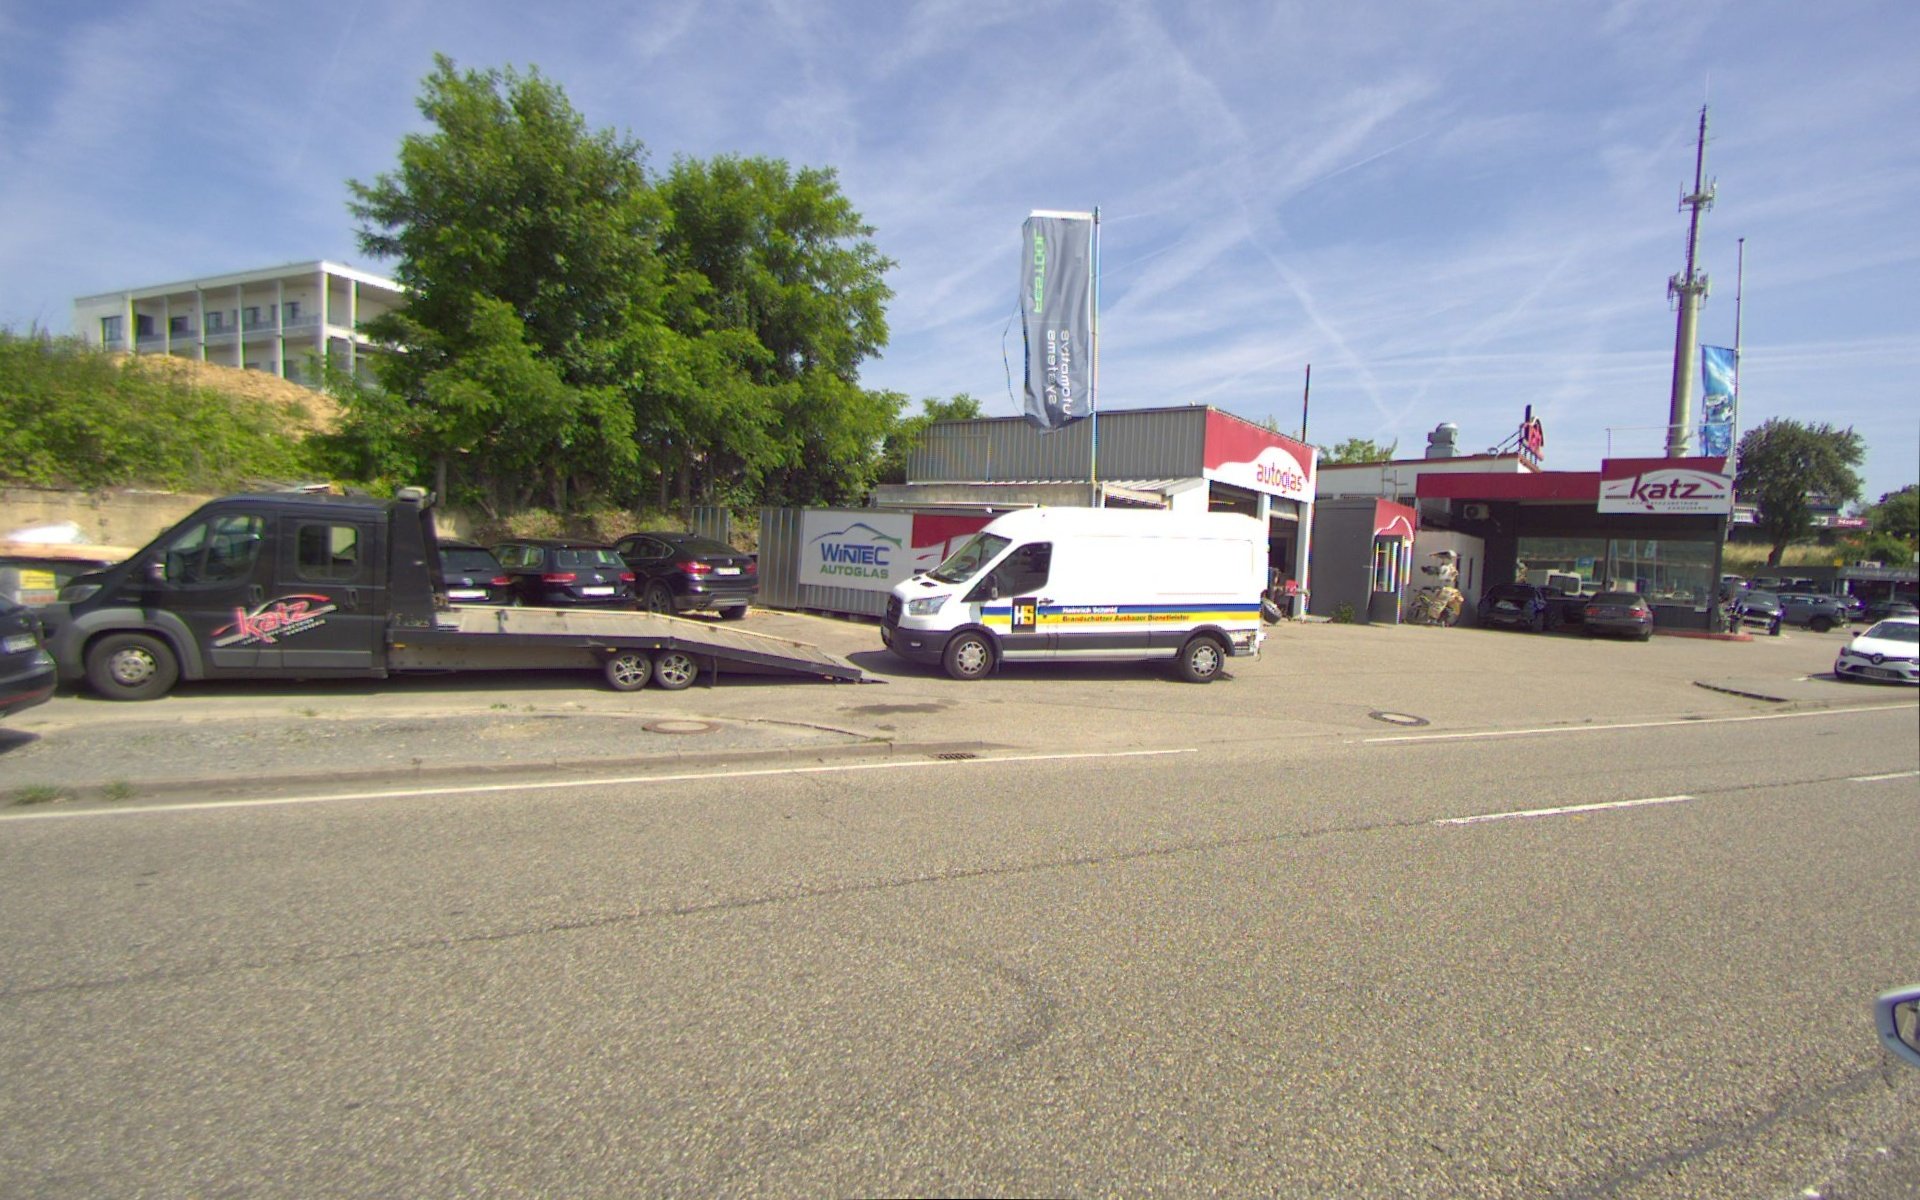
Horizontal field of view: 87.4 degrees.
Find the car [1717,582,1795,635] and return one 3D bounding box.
[{"bbox_3d":[30.536,0.324,38.651,1.797,1.696,4.115,9,4,34],"label":"car"}]

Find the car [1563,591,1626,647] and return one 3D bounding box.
[{"bbox_3d":[23.173,0.621,36.640,1.676,1.783,3.750,7,4,34],"label":"car"}]

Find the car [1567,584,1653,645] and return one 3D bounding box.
[{"bbox_3d":[20.064,0.377,30.923,1.829,1.525,4.378,6,6,36],"label":"car"}]

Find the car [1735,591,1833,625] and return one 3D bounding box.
[{"bbox_3d":[42.990,0.389,52.505,3.767,1.609,1.763,2,1,36],"label":"car"}]

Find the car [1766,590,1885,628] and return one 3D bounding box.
[{"bbox_3d":[39.065,0.361,45.448,3.886,1.553,1.763,2,1,36],"label":"car"}]

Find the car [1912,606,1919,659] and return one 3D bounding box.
[{"bbox_3d":[29.916,1.031,28.558,1.826,1.546,3.774,1,2,-32],"label":"car"}]

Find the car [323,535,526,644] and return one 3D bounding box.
[{"bbox_3d":[-8.458,-0.223,15.760,3.619,1.489,1.729,4,2,43],"label":"car"}]

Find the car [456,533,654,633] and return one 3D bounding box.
[{"bbox_3d":[-6.920,-0.333,17.003,3.619,1.489,1.729,4,2,43],"label":"car"}]

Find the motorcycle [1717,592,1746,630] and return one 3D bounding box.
[{"bbox_3d":[27.406,0.384,35.668,0.760,1.278,2.046,2,1,38],"label":"motorcycle"}]

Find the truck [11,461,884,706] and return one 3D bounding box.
[{"bbox_3d":[-5.466,-0.176,12.385,8.682,2.328,2.323,1,6,-25],"label":"truck"}]

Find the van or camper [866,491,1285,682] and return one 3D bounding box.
[{"bbox_3d":[1.696,-0.204,15.325,5.853,2.533,2.153,2,5,-16],"label":"van or camper"}]

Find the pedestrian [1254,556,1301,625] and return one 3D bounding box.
[{"bbox_3d":[8.499,-0.249,26.916,0.883,1.786,0.719,2,2,-27],"label":"pedestrian"}]

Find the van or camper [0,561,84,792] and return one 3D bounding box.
[{"bbox_3d":[-8.881,0.461,6.597,4.408,1.545,1.634,2,2,-26],"label":"van or camper"}]

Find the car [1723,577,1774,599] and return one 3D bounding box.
[{"bbox_3d":[58.682,-0.890,74.818,1.702,1.470,3.749,3,2,18],"label":"car"}]

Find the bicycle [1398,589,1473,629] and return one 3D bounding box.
[{"bbox_3d":[14.660,0.258,31.005,1.968,0.984,0.413,9,5,38],"label":"bicycle"}]

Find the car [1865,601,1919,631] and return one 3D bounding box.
[{"bbox_3d":[55.412,0.931,59.433,1.736,1.609,3.825,2,1,26],"label":"car"}]

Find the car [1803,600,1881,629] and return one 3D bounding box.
[{"bbox_3d":[53.757,0.863,61.310,1.733,1.609,3.831,2,1,9],"label":"car"}]

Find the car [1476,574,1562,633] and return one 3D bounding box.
[{"bbox_3d":[17.869,0.049,32.040,1.829,1.525,3.985,8,7,35],"label":"car"}]

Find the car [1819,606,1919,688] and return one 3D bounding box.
[{"bbox_3d":[21.572,1.034,22.853,3.952,1.640,1.771,1,2,-29],"label":"car"}]

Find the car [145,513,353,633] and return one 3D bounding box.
[{"bbox_3d":[-10.214,-0.419,14.336,3.619,1.489,1.729,4,2,43],"label":"car"}]

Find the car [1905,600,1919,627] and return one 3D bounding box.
[{"bbox_3d":[58.039,0.812,59.581,1.736,1.609,3.825,2,1,26],"label":"car"}]

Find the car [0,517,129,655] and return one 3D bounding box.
[{"bbox_3d":[-11.699,-0.238,12.709,1.702,1.531,3.630,1,2,-38],"label":"car"}]

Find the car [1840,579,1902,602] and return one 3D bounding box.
[{"bbox_3d":[63.444,-0.664,70.010,1.702,1.470,3.749,3,2,18],"label":"car"}]

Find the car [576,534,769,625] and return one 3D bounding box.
[{"bbox_3d":[-5.537,-0.425,19.190,3.613,1.550,1.732,3,2,37],"label":"car"}]
